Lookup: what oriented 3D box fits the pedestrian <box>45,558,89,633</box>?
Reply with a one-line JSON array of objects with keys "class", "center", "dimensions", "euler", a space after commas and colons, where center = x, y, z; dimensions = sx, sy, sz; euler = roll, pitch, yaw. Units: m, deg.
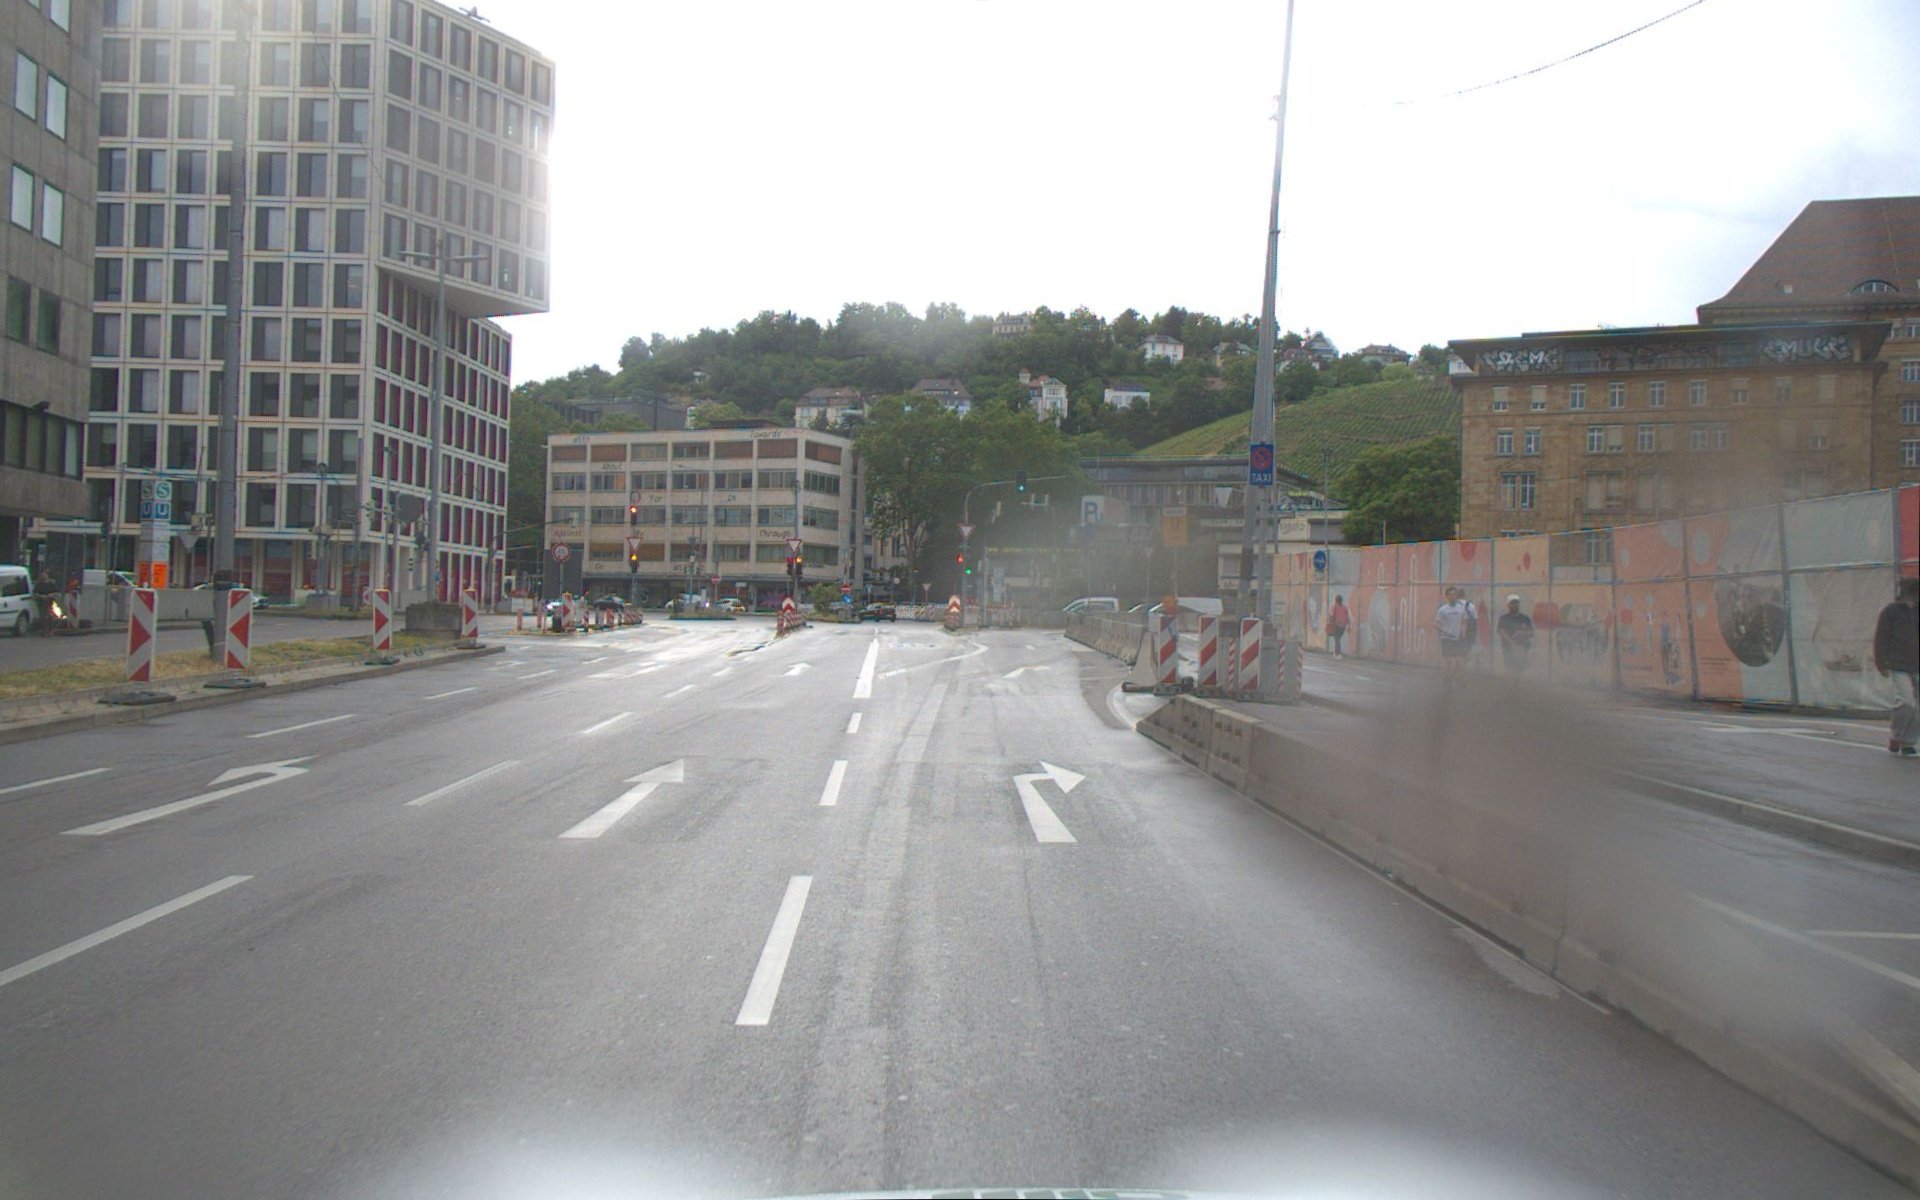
[{"class": "pedestrian", "center": [-23.196, -0.119, 42.960], "dimensions": [0.681, 1.919, 0.791], "euler": [1, 0, 41]}]

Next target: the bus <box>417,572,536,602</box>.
[{"class": "bus", "center": [-50.418, -1.366, 172.304], "dimensions": [13.668, 2.798, 3.206], "euler": [1, 0, 29]}]

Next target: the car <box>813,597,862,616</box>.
[{"class": "car", "center": [-10.494, 0.553, 141.997], "dimensions": [3.994, 1.518, 1.730], "euler": [1, 0, 35]}]

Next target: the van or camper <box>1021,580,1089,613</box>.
[{"class": "van or camper", "center": [6.105, -0.226, 106.377], "dimensions": [4.158, 2.013, 1.850], "euler": [1, 0, -4]}]

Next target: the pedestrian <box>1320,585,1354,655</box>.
[{"class": "pedestrian", "center": [10.470, 0.545, 45.945], "dimensions": [0.705, 1.899, 0.709], "euler": [1, 0, -3]}]

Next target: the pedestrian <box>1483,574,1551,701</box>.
[{"class": "pedestrian", "center": [7.939, 0.525, 23.594], "dimensions": [0.629, 1.771, 0.837], "euler": [1, 0, -3]}]

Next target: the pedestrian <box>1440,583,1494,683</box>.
[{"class": "pedestrian", "center": [9.815, 0.623, 32.043], "dimensions": [0.689, 1.899, 0.990], "euler": [1, 0, -1]}]

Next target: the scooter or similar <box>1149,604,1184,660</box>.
[{"class": "scooter or similar", "center": [4.723, 0.710, 37.885], "dimensions": [0.660, 1.236, 1.572], "euler": [1, 0, 4]}]

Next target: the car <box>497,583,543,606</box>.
[{"class": "car", "center": [-37.608, -0.453, 141.386], "dimensions": [3.923, 1.847, 1.797], "euler": [1, 0, 38]}]

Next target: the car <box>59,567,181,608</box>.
[{"class": "car", "center": [-41.379, -0.617, 81.557], "dimensions": [4.961, 1.937, 2.089], "euler": [1, 0, 5]}]

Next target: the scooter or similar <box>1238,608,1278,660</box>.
[{"class": "scooter or similar", "center": [7.131, 0.806, 39.629], "dimensions": [0.459, 1.204, 1.411], "euler": [1, 0, -11]}]

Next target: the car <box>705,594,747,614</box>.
[{"class": "car", "center": [-21.415, 0.344, 151.144], "dimensions": [3.934, 1.720, 1.787], "euler": [2, 0, 44]}]

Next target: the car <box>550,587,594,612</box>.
[{"class": "car", "center": [-27.896, -0.030, 118.984], "dimensions": [2.178, 1.784, 4.810], "euler": [1, 0, -3]}]

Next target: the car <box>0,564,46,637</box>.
[{"class": "car", "center": [-24.415, 0.003, 40.662], "dimensions": [1.739, 1.793, 4.367], "euler": [1, 0, -5]}]

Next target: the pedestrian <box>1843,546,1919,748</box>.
[{"class": "pedestrian", "center": [9.136, 0.450, 16.101], "dimensions": [0.670, 1.922, 0.693], "euler": [1, 0, -4]}]

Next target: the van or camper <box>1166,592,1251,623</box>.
[{"class": "van or camper", "center": [16.005, 0.481, 106.606], "dimensions": [5.092, 1.927, 1.886], "euler": [1, 0, -3]}]

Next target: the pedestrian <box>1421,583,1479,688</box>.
[{"class": "pedestrian", "center": [8.428, 0.596, 28.464], "dimensions": [0.670, 1.771, 0.907], "euler": [1, 0, -3]}]

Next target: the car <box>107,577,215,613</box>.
[{"class": "car", "center": [-41.011, -0.267, 84.922], "dimensions": [4.551, 1.769, 2.019], "euler": [1, 0, 2]}]

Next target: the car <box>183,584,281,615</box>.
[{"class": "car", "center": [-40.107, -0.028, 91.192], "dimensions": [4.549, 1.626, 2.020], "euler": [1, 0, 7]}]

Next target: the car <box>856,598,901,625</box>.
[{"class": "car", "center": [-6.426, 0.891, 129.466], "dimensions": [1.972, 2.049, 3.961], "euler": [1, 0, -29]}]
